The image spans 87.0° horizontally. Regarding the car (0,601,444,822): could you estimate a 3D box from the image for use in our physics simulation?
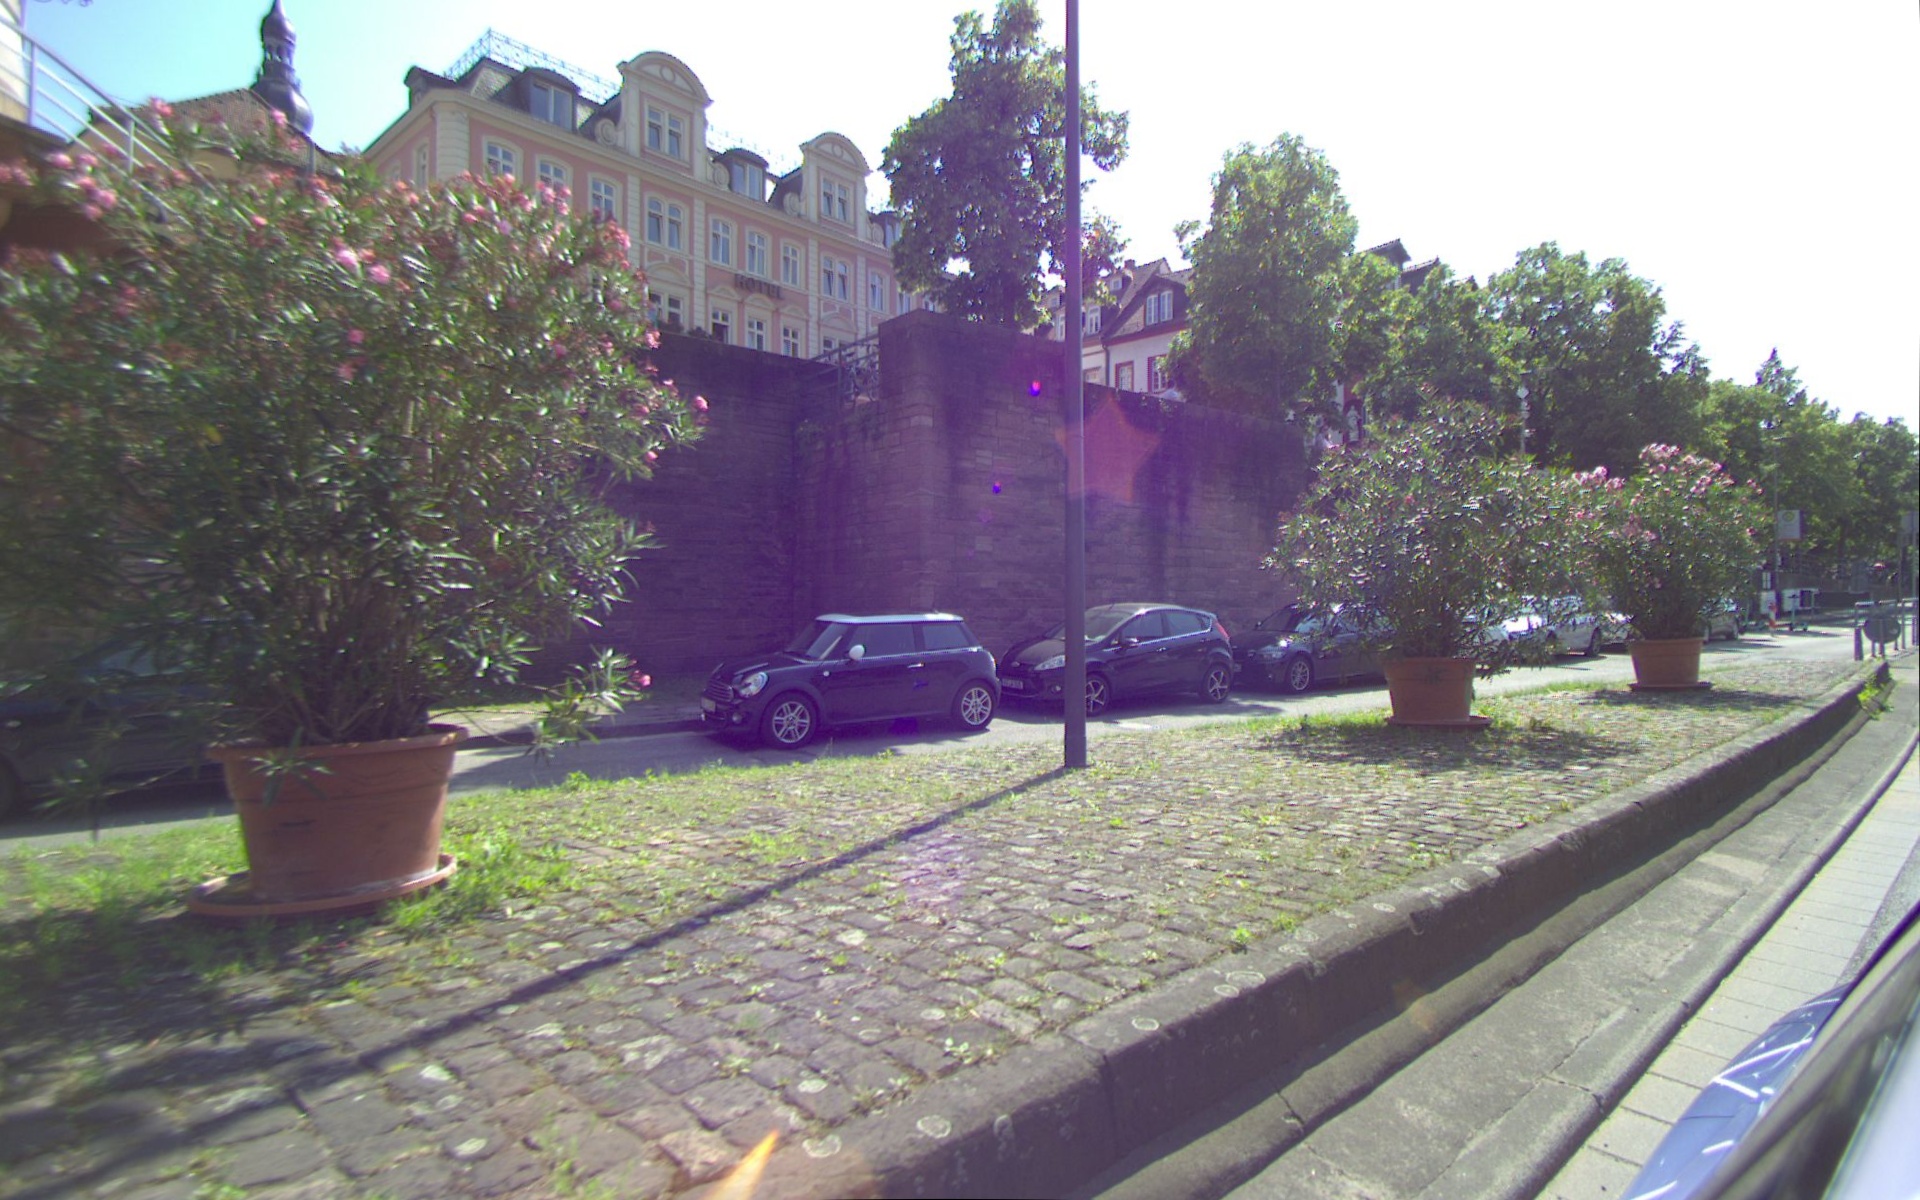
[{"bbox_3d":[-6.630,0.802,8.472,3.911,1.521,1.781,0,1,-36],"label":"car"}]

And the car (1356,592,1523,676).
[{"bbox_3d":[9.518,0.600,19.993,3.485,1.476,1.714,-1,1,-41],"label":"car"}]

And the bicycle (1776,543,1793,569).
[{"bbox_3d":[35.778,-1.901,43.911,0.410,1.119,1.707,1,2,44],"label":"bicycle"}]

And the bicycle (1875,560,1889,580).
[{"bbox_3d":[49.652,-1.613,54.489,1.906,1.017,0.298,0,0,-40],"label":"bicycle"}]

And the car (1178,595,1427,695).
[{"bbox_3d":[5.889,0.675,17.224,4.322,1.405,1.717,-1,2,-33],"label":"car"}]

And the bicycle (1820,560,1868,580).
[{"bbox_3d":[46.308,-1.585,53.025,0.294,1.017,1.857,1,0,-40],"label":"bicycle"}]

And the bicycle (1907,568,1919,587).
[{"bbox_3d":[56.928,-1.354,60.264,1.882,1.126,0.345,-1,1,-34],"label":"bicycle"}]

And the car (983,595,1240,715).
[{"bbox_3d":[2.242,0.700,14.659,3.645,1.503,1.500,-1,0,-34],"label":"car"}]

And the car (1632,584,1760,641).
[{"bbox_3d":[21.090,0.301,28.947,4.452,1.468,1.847,-1,1,-38],"label":"car"}]

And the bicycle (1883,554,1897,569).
[{"bbox_3d":[51.573,-2.110,56.093,1.885,0.794,0.350,0,1,-41],"label":"bicycle"}]

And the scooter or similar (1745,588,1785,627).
[{"bbox_3d":[26.581,0.244,33.423,1.245,1.245,0.534,-1,1,-24],"label":"scooter or similar"}]

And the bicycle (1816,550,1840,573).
[{"bbox_3d":[41.778,-1.844,48.704,1.887,1.119,0.411,-1,1,-34],"label":"bicycle"}]

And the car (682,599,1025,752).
[{"bbox_3d":[-1.232,0.784,12.237,3.826,1.540,1.597,-1,0,-32],"label":"car"}]

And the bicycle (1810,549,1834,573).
[{"bbox_3d":[40.532,-1.821,47.600,1.701,1.119,0.411,-1,1,-34],"label":"bicycle"}]

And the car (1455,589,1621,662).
[{"bbox_3d":[13.285,0.507,23.153,4.671,1.450,1.757,-1,1,-39],"label":"car"}]

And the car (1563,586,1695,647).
[{"bbox_3d":[17.191,0.381,25.945,3.831,1.431,1.616,-1,1,-36],"label":"car"}]

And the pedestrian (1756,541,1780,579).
[{"bbox_3d":[37.382,-1.833,46.816,0.698,1.742,0.720,0,1,-38],"label":"pedestrian"}]

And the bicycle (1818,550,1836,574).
[{"bbox_3d":[44.565,-1.938,52.009,1.899,1.154,0.382,0,0,-40],"label":"bicycle"}]

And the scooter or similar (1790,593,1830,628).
[{"bbox_3d":[27.792,0.334,33.096,1.410,1.103,0.534,-1,1,-29],"label":"scooter or similar"}]

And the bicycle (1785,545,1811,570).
[{"bbox_3d":[37.335,-1.891,45.070,1.701,1.119,0.411,-1,1,-34],"label":"bicycle"}]
